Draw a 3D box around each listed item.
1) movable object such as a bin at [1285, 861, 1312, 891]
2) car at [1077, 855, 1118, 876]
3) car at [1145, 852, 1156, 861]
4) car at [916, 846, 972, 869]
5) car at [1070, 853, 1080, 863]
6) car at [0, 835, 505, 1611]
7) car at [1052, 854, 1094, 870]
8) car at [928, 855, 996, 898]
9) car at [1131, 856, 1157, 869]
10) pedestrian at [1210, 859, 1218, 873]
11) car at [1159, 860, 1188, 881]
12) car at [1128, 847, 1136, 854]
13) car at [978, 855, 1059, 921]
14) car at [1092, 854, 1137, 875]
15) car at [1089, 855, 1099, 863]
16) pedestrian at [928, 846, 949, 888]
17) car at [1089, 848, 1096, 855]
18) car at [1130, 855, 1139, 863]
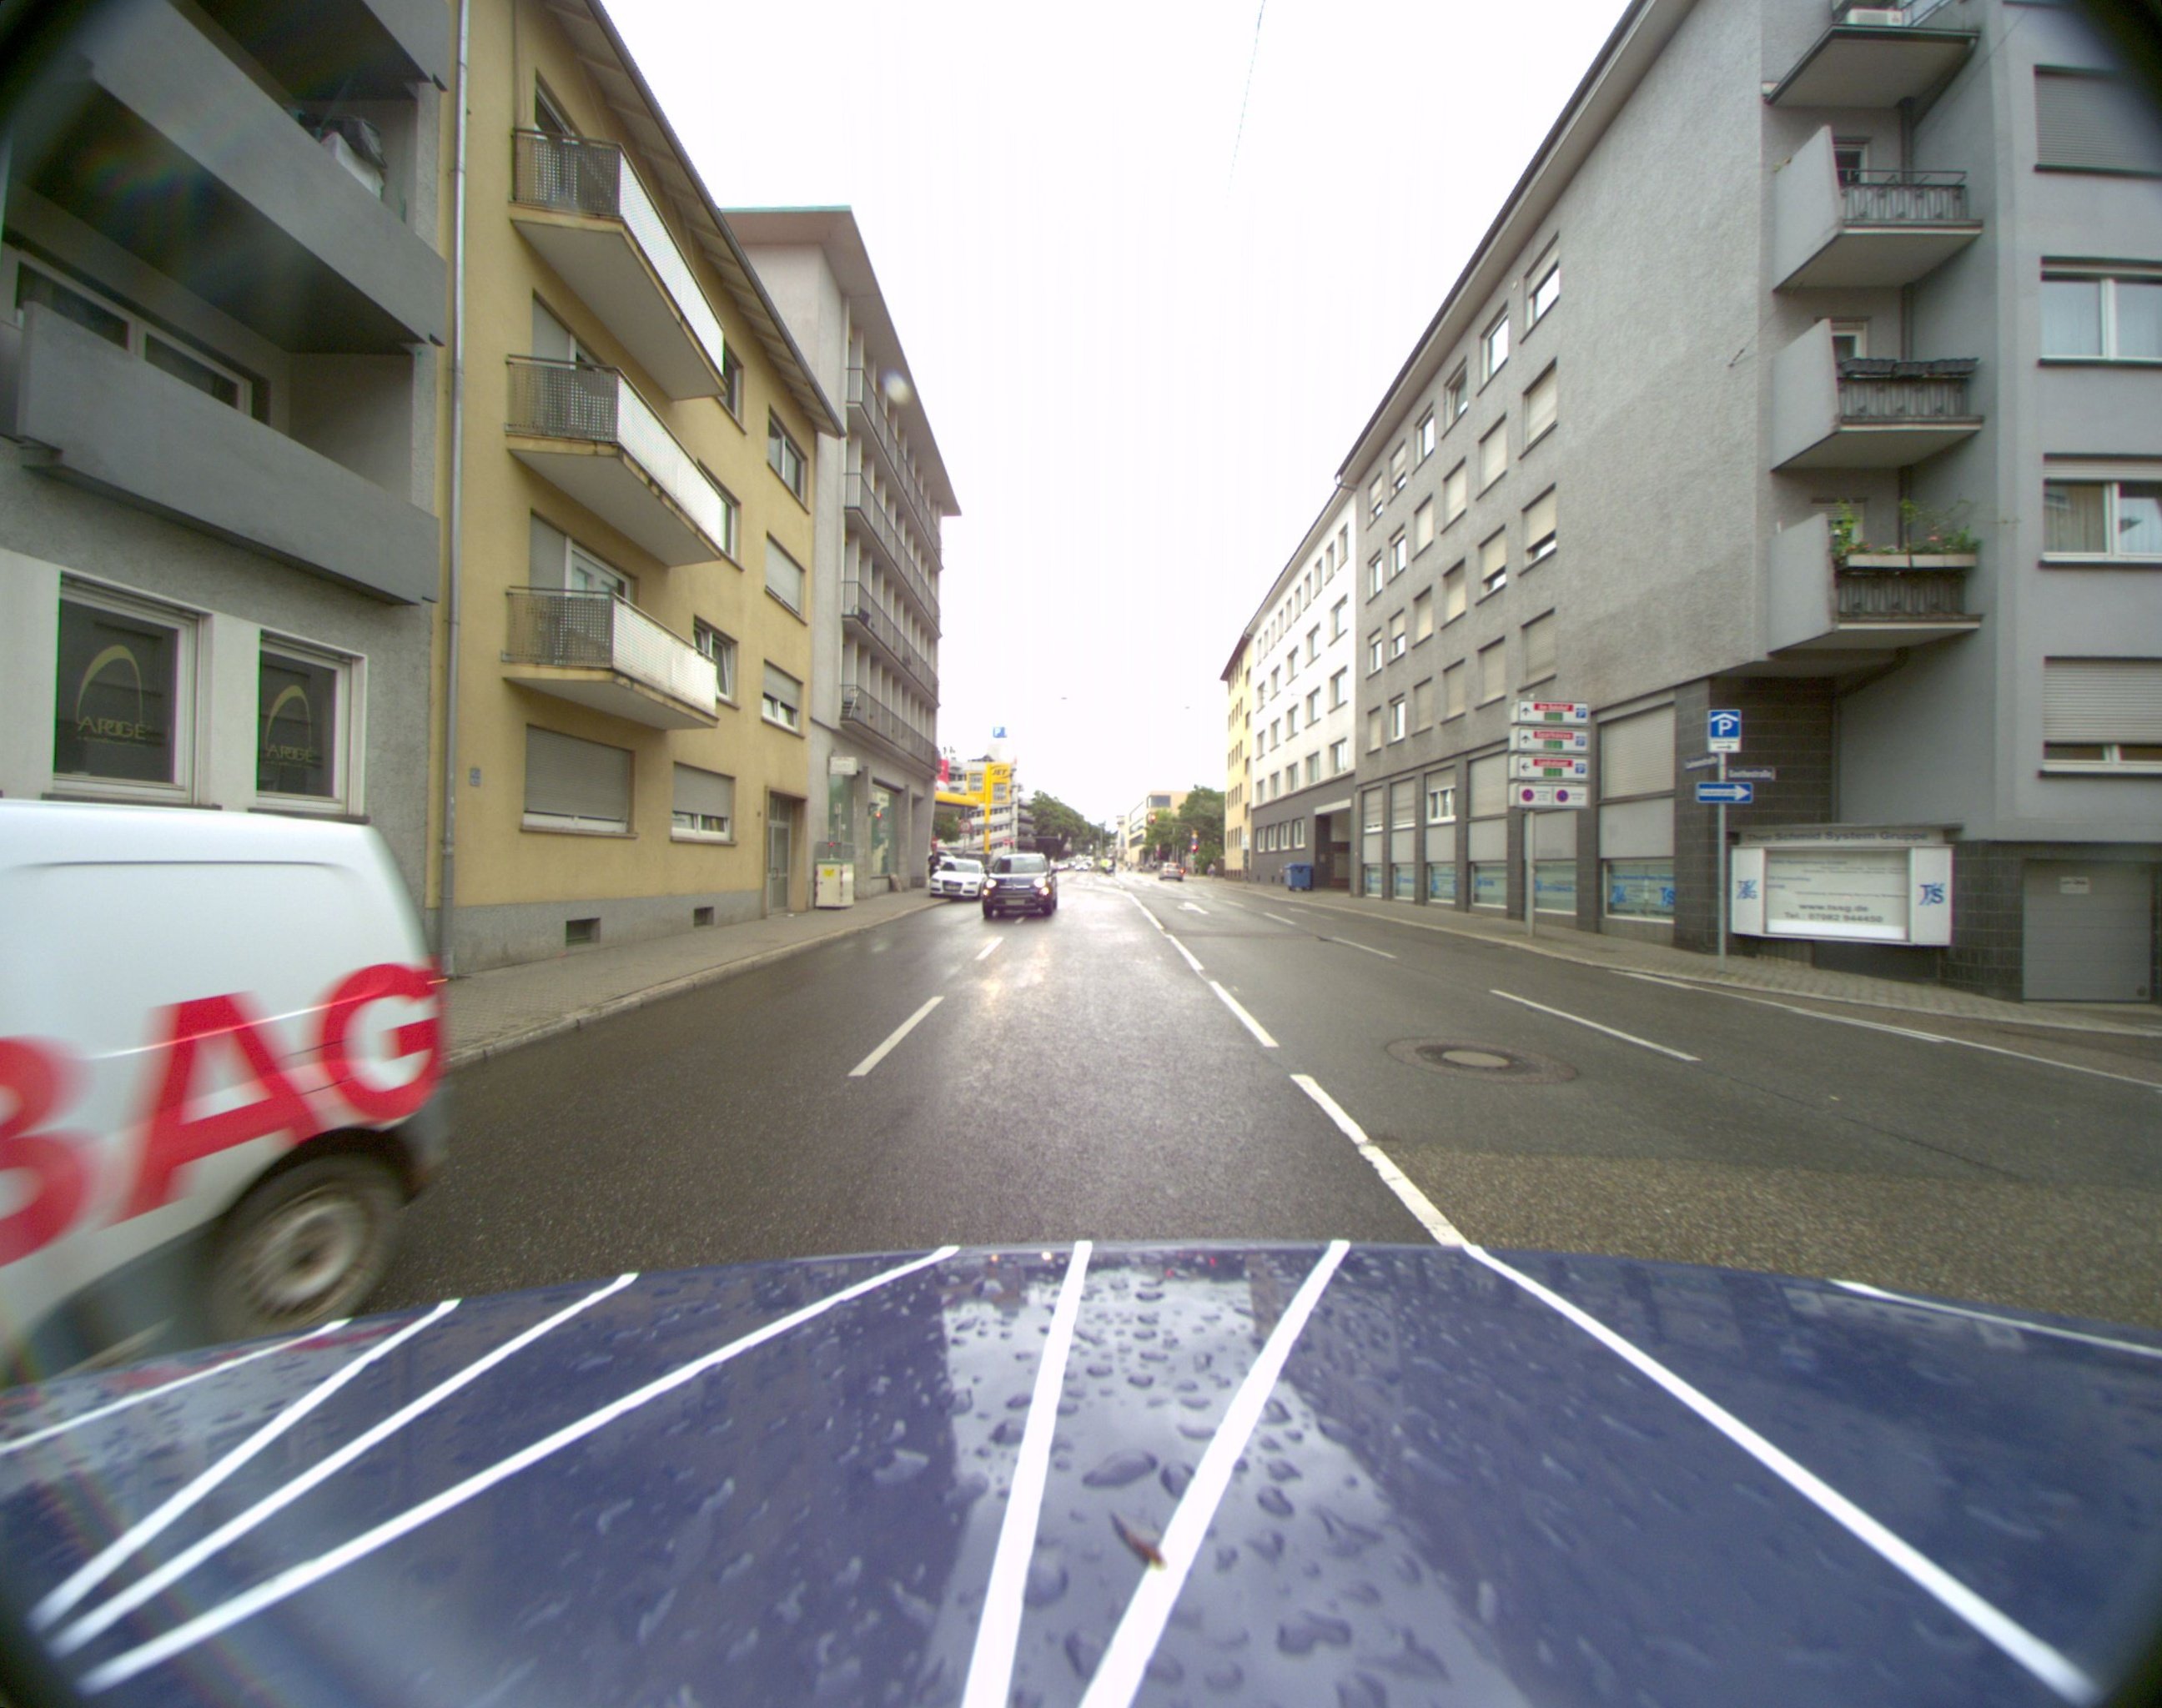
[{"bbox_3d":[10.361,1.042,36.279,0.946,1.325,1.096,-3,1,1],"label":"movable object such as a bin"},{"bbox_3d":[1.597,1.060,72.388,3.794,1.823,1.692,-3,0,2],"label":"car"},{"bbox_3d":[15.488,0.604,169.508,1.998,1.863,3.999,-2,1,0],"label":"car"},{"bbox_3d":[-9.780,0.243,54.284,3.989,1.465,1.775,-2,1,41],"label":"car"},{"bbox_3d":[-1.349,0.932,162.190,1.998,2.002,3.999,-2,1,0],"label":"car"},{"bbox_3d":[-3.495,0.870,0.810,1.945,1.764,4.747,-1,0,3],"label":"car"},{"bbox_3d":[-0.766,0.755,74.396,3.996,1.499,1.738,1,0,2],"label":"car"},{"bbox_3d":[-4.367,0.790,28.527,1.803,1.427,4.166,1,0,1],"label":"car"},{"bbox_3d":[9.842,1.309,119.412,3.995,1.736,2.000,-2,1,5],"label":"car"},{"bbox_3d":[10.827,0.957,61.721,0.582,1.143,0.407,3,1,12],"label":"pedestrian"},{"bbox_3d":[7.425,1.288,61.590,1.883,1.580,4.373,0,0,1],"label":"car"},{"bbox_3d":[12.902,-0.967,192.351,1.998,1.683,4.000,-2,1,2],"label":"car"},{"bbox_3d":[-1.565,0.833,20.456,1.771,1.571,4.000,-1,0,1],"label":"car"},{"bbox_3d":[3.040,0.915,68.987,3.929,1.706,1.902,-3,0,2],"label":"car"},{"bbox_3d":[2.896,1.093,167.489,1.998,1.736,3.999,-2,1,0],"label":"car"},{"bbox_3d":[-5.995,0.539,32.080,0.679,1.745,0.888,1,1,2],"label":"pedestrian"},{"bbox_3d":[3.472,-0.829,230.376,1.998,2.002,3.999,-2,1,1],"label":"car"},{"bbox_3d":[12.254,1.083,174.530,1.998,1.683,4.000,-2,1,2],"label":"car"}]
